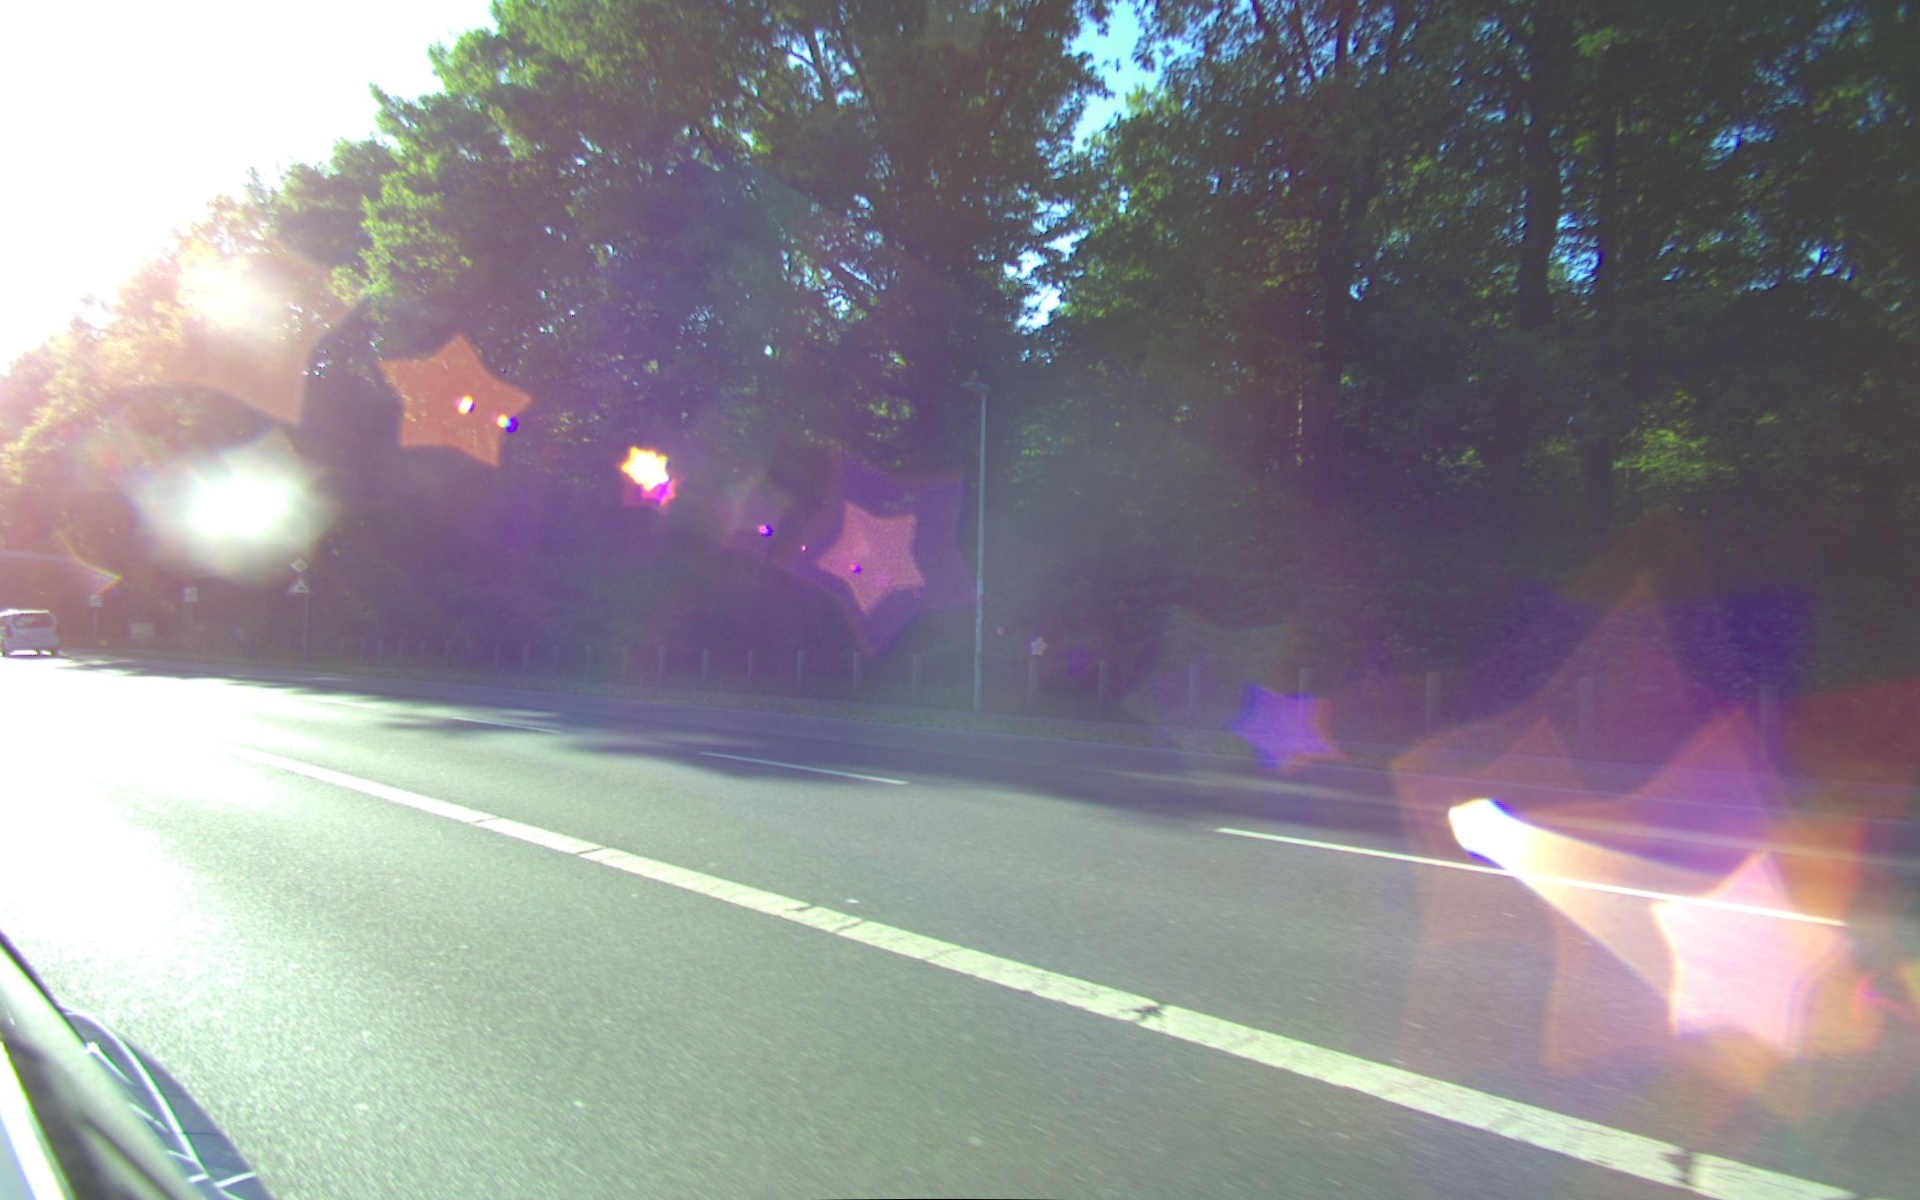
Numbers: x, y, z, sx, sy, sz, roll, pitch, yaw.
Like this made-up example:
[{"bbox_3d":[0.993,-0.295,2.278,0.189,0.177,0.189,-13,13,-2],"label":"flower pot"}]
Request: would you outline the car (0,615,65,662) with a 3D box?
[{"bbox_3d":[-39.432,1.583,42.440,4.992,1.840,1.982,-1,0,38],"label":"car"}]
